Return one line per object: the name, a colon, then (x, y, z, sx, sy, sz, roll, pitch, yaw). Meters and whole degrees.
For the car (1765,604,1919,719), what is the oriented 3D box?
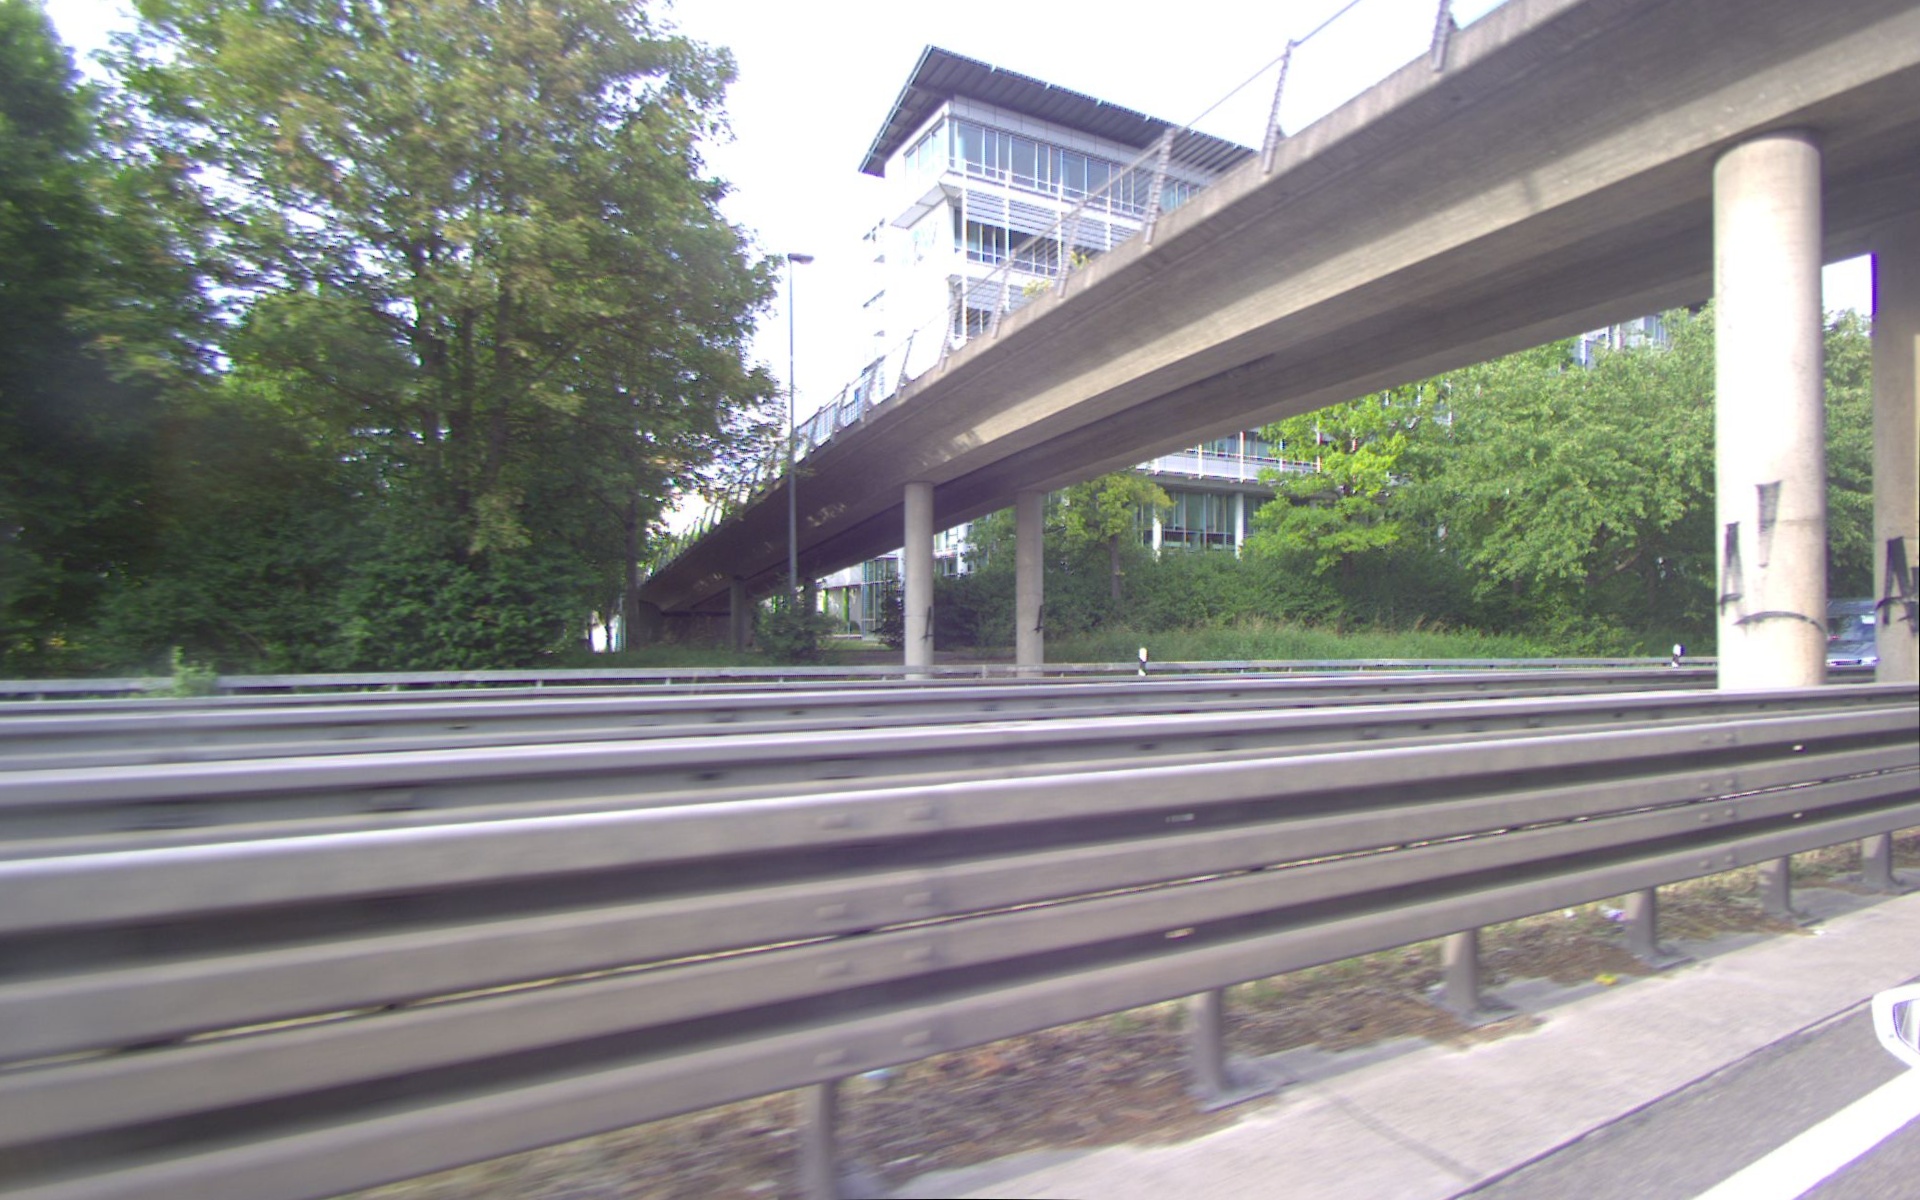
car: (23.122, 1.455, 25.198, 6.857, 2.570, 2.239, 1, -1, -30)
